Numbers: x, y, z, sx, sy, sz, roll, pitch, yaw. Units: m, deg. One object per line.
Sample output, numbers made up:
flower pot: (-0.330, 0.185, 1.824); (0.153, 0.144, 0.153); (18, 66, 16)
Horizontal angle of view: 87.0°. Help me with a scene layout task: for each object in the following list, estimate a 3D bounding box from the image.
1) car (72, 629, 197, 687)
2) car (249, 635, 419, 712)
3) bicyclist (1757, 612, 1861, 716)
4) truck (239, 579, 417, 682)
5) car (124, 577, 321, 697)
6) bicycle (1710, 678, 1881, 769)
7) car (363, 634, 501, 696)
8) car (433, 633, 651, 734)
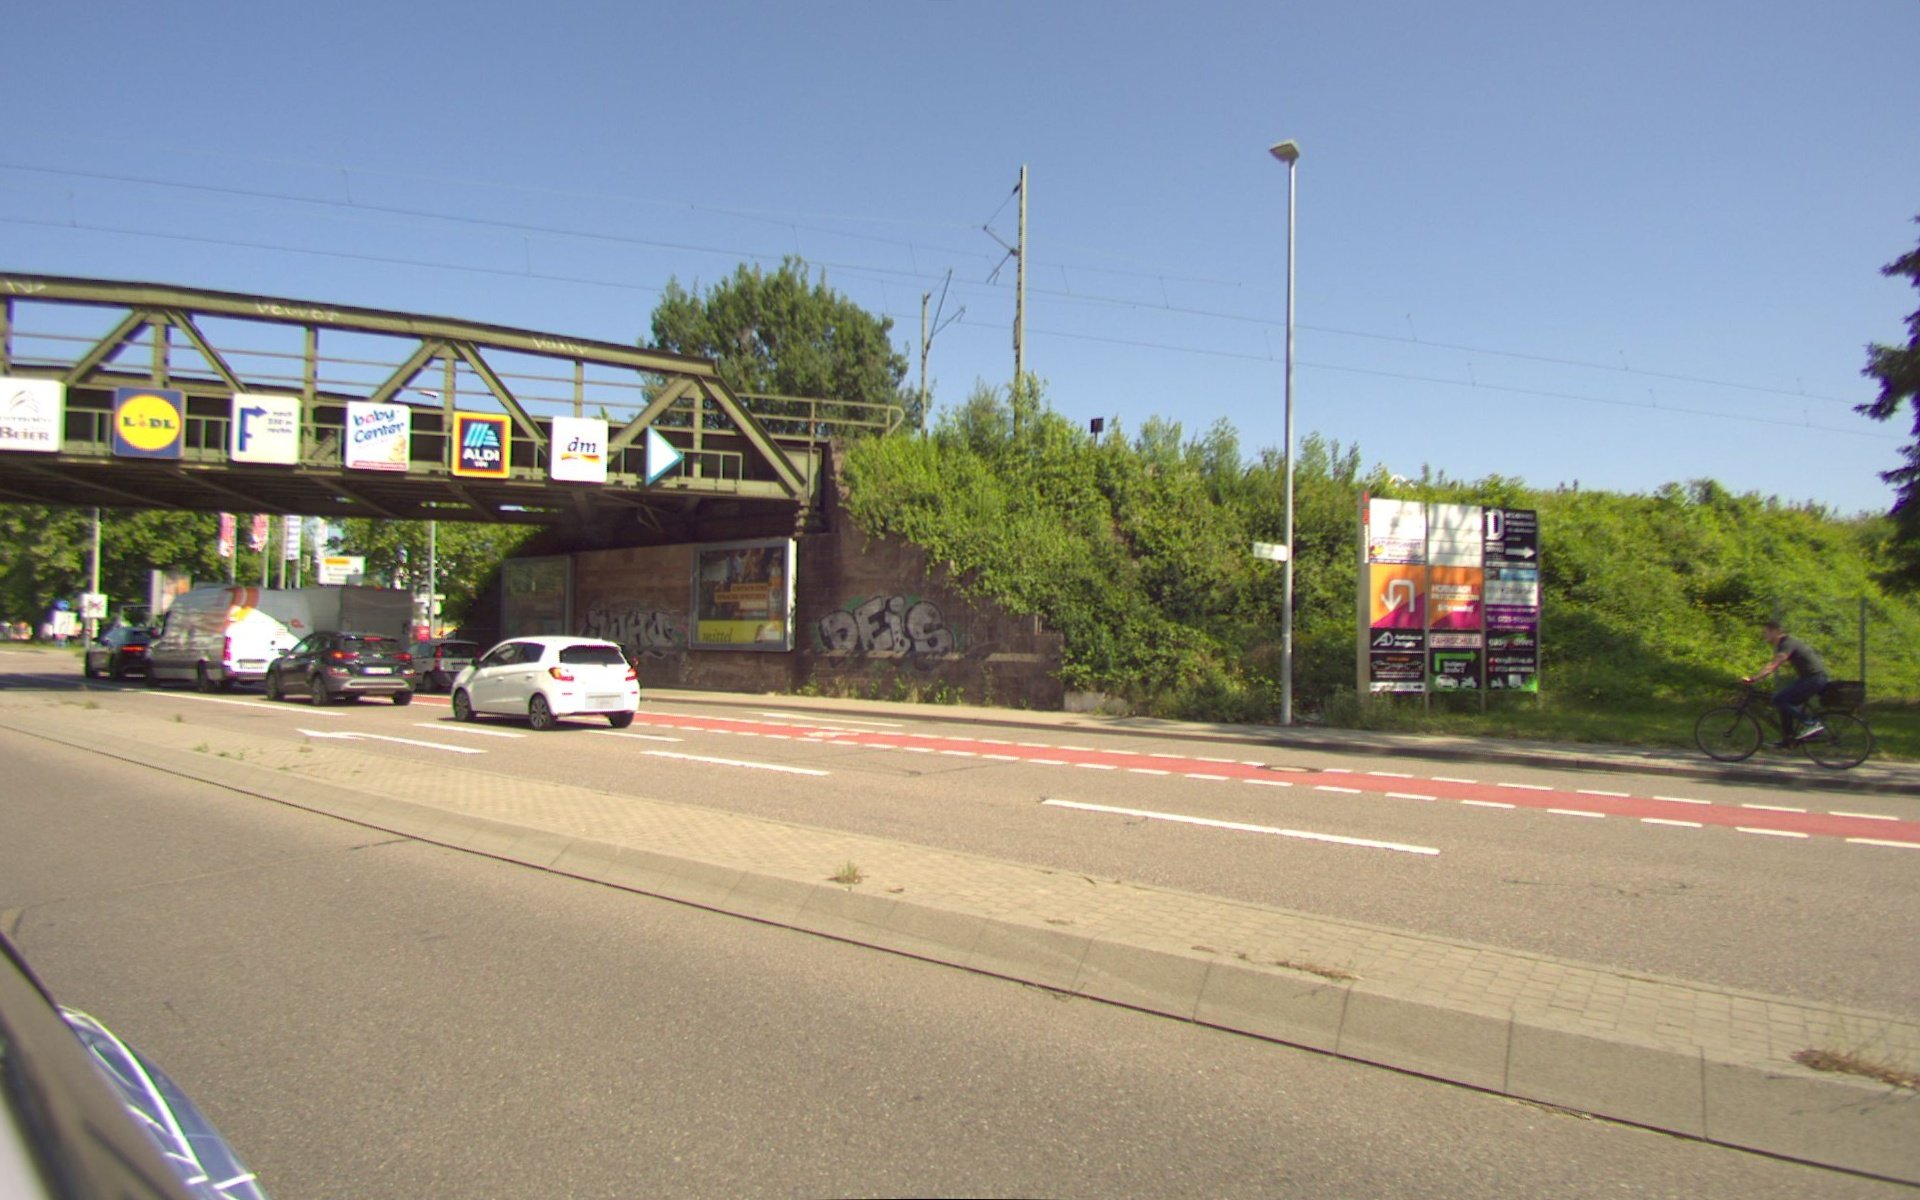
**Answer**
car: (-25.899, 1.778, 31.703); (4.943, 1.694, 1.974); (-2, -3, 38)
car: (-13.621, 1.585, 21.961); (4.171, 1.506, 1.752); (-3, -5, 38)
bicyclist: (10.591, 0.790, 12.633); (0.950, 1.237, 0.627); (-2, -4, 42)
truck: (-20.976, 1.015, 33.458); (7.051, 3.112, 2.321); (-1, -3, 34)
car: (-19.481, 1.003, 26.569); (6.923, 2.827, 1.976); (-1, -5, 36)
bicycle: (10.476, 1.521, 12.736); (1.615, 1.035, 0.441); (-2, -4, 42)
car: (-15.601, 1.929, 29.849); (4.281, 1.703, 1.965); (-3, -5, 38)
car: (-7.048, 1.374, 16.952); (3.821, 1.506, 1.628); (-3, -5, 37)
